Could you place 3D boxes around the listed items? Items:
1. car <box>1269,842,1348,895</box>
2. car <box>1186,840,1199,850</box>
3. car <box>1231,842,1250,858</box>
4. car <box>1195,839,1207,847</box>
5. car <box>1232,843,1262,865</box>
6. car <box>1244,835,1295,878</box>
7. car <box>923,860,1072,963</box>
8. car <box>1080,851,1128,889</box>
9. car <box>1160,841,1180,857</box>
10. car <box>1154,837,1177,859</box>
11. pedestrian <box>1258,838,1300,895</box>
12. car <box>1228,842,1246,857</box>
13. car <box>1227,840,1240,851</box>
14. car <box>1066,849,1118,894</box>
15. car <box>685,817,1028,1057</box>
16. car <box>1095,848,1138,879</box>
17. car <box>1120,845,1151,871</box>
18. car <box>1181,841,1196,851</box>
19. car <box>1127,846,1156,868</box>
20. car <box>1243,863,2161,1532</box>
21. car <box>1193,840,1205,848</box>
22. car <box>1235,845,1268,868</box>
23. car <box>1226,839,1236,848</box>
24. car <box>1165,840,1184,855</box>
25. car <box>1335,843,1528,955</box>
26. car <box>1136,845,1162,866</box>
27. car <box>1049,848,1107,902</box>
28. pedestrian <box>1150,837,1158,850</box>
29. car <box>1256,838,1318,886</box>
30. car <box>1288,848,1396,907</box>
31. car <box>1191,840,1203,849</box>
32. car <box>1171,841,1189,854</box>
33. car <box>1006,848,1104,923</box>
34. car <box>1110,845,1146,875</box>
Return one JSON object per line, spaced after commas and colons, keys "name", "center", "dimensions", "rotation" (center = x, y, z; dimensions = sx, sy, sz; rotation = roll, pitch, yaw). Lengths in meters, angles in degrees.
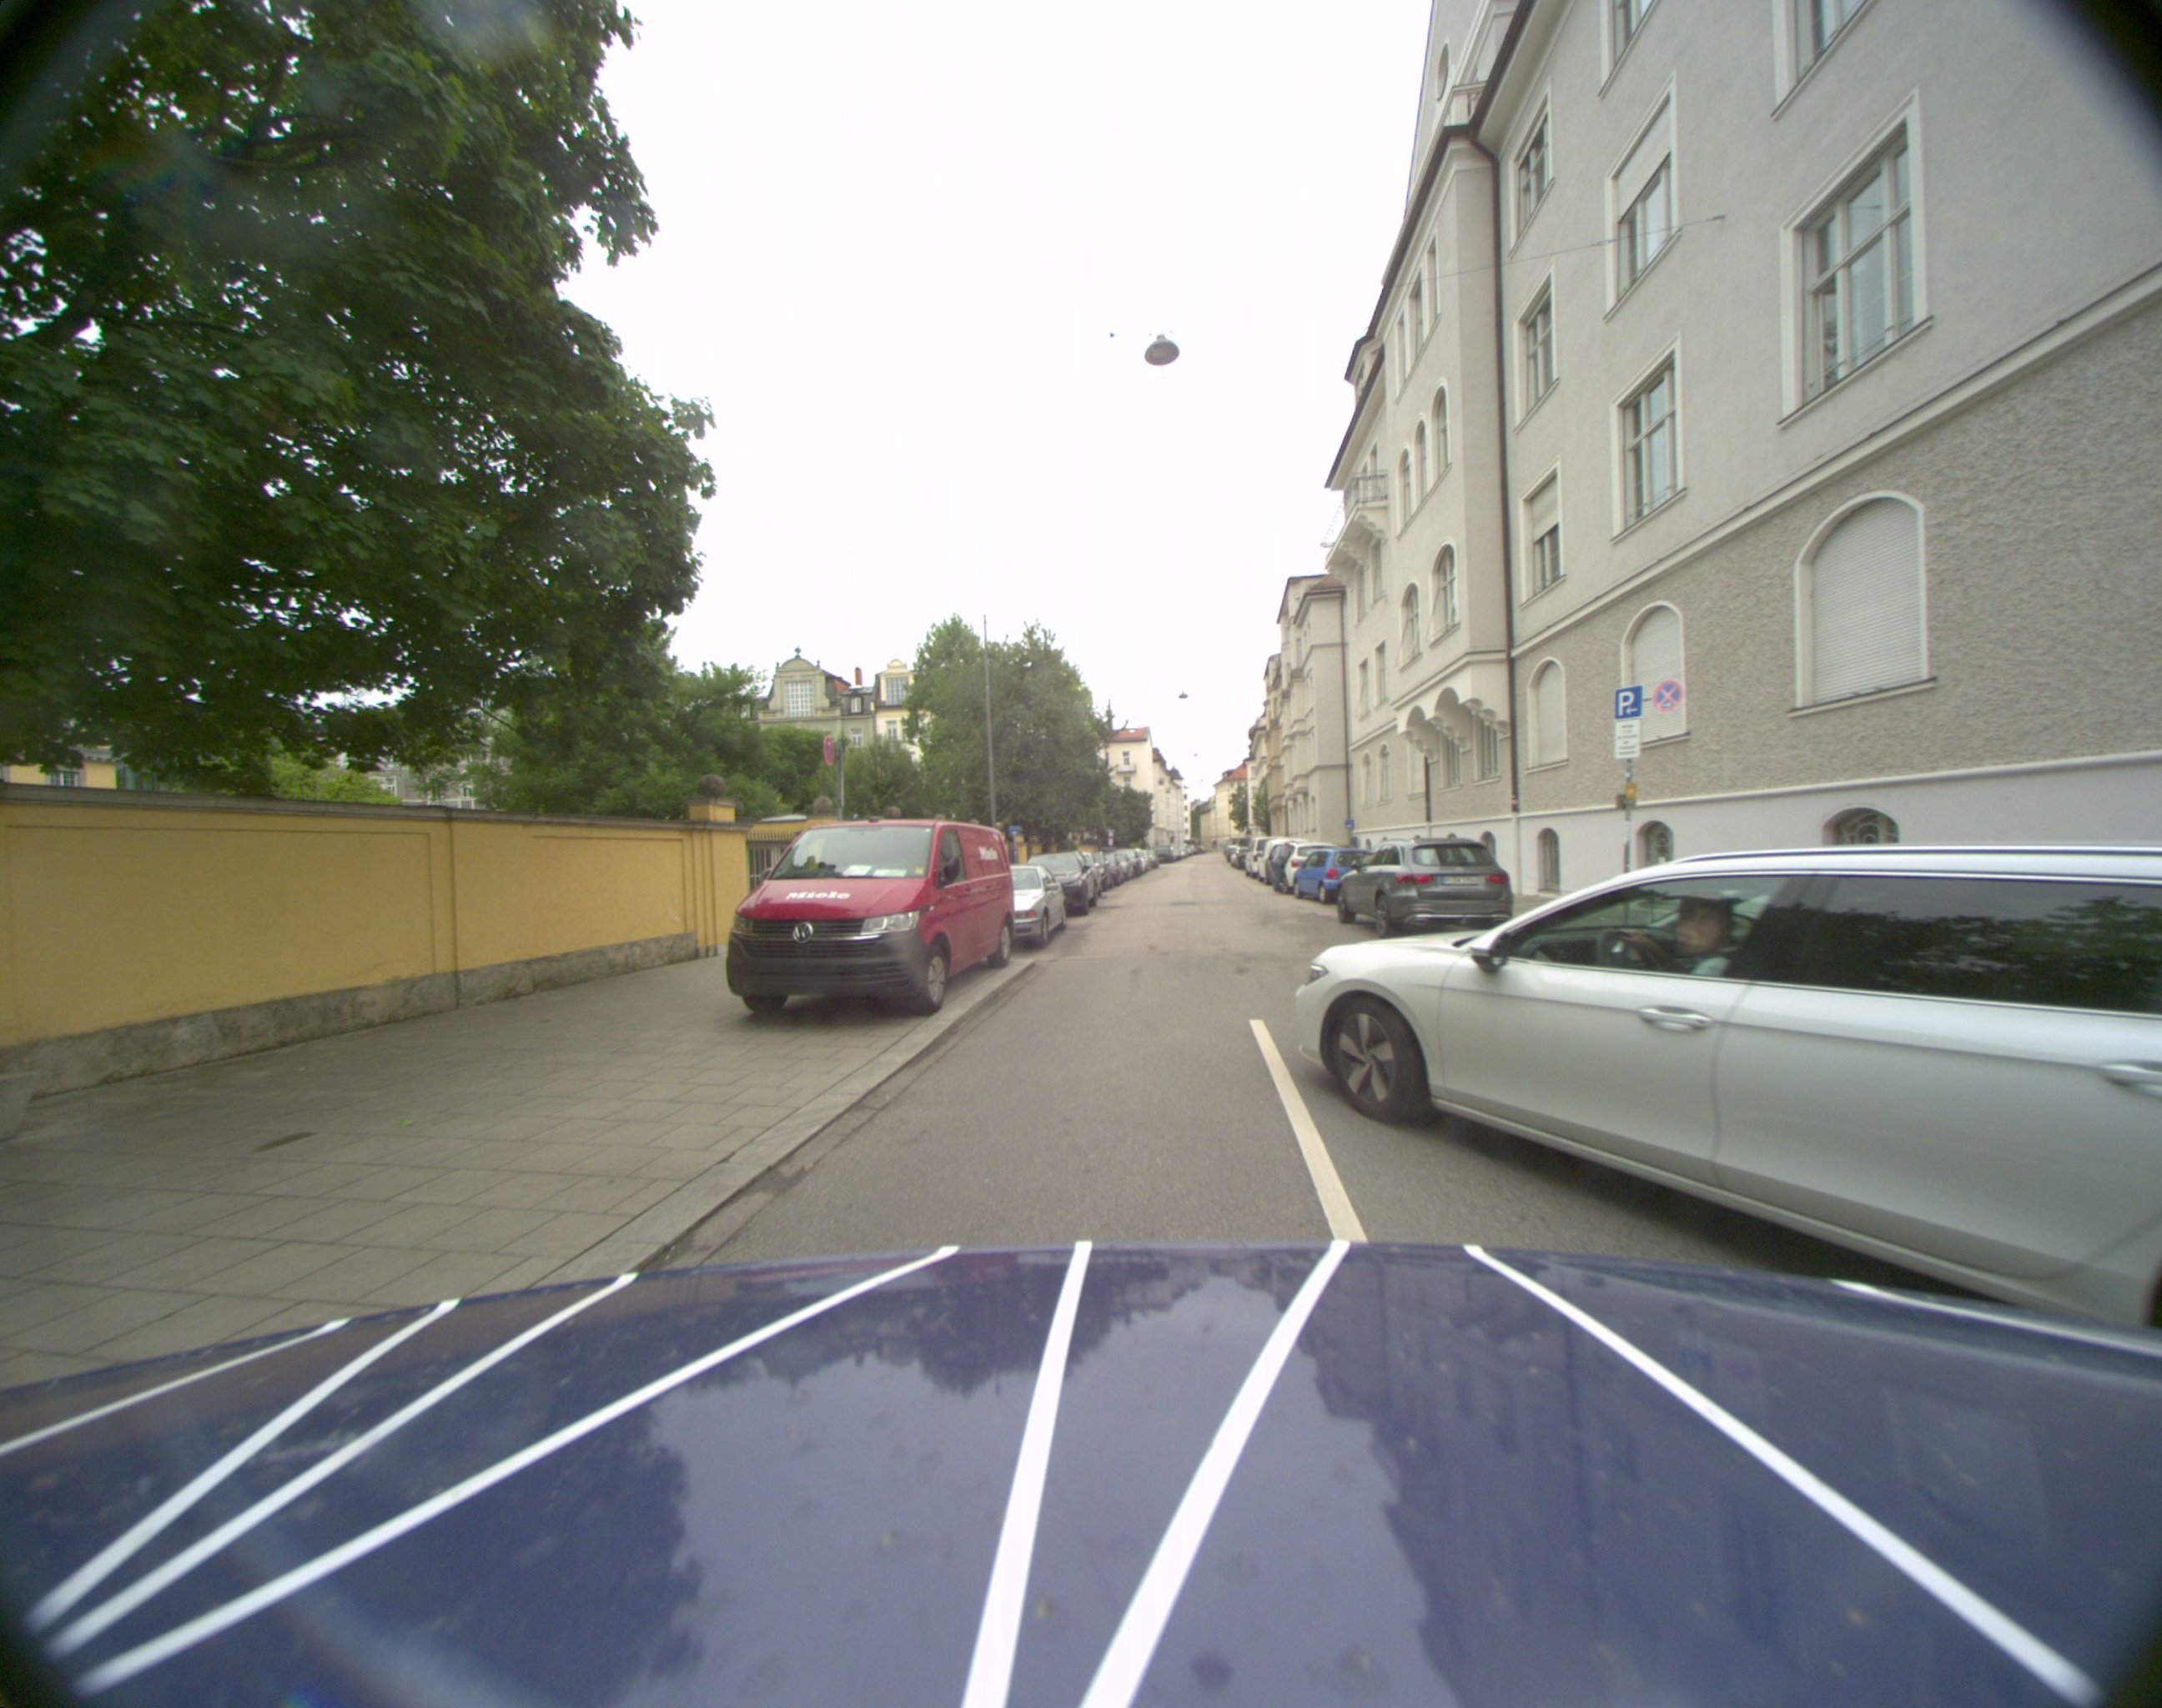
{"name": "car", "center": [7.480, 0.411, 25.347], "dimensions": [1.750, 1.593, 4.498], "rotation": [-1, 1, 7]}
{"name": "car", "center": [20.310, -1.611, 138.546], "dimensions": [1.997, 1.585, 4.302], "rotation": [-5, 0, 12]}
{"name": "car", "center": [14.792, -0.415, 70.528], "dimensions": [1.625, 1.448, 3.943], "rotation": [-1, 1, 11]}
{"name": "car", "center": [25.748, -2.344, 163.018], "dimensions": [1.997, 1.585, 4.303], "rotation": [-5, 0, 15]}
{"name": "car", "center": [12.097, -0.028, 55.559], "dimensions": [1.859, 1.455, 4.381], "rotation": [-1, 1, 8]}
{"name": "car", "center": [9.151, 0.072, 37.196], "dimensions": [1.859, 1.927, 4.959], "rotation": [-1, 1, 7]}
{"name": "car", "center": [-1.379, 0.949, 14.435], "dimensions": [1.888, 1.440, 4.369], "rotation": [-4, 1, 5]}
{"name": "car", "center": [1.089, 0.649, 33.697], "dimensions": [1.695, 1.406, 4.038], "rotation": [-4, 1, 7]}
{"name": "car", "center": [10.217, -0.548, 86.735], "dimensions": [1.997, 1.643, 4.451], "rotation": [-5, 0, 8]}
{"name": "car", "center": [8.525, -0.579, 76.682], "dimensions": [1.997, 1.949, 4.435], "rotation": [-5, 0, 8]}
{"name": "pedestrian", "center": [6.294, 0.390, 24.138], "dimensions": [0.874, 1.746, 0.966], "rotation": [-2, 1, 39]}
{"name": "car", "center": [15.619, -0.488, 76.127], "dimensions": [1.625, 1.421, 3.944], "rotation": [-1, 1, 11]}
{"name": "car", "center": [21.177, -1.228, 105.560], "dimensions": [1.626, 1.522, 3.691], "rotation": [-1, 1, 10]}
{"name": "car", "center": [0.481, 0.637, 29.739], "dimensions": [1.511, 1.557, 2.871], "rotation": [-4, 1, 9]}
{"name": "car", "center": [-2.049, 0.665, 8.729], "dimensions": [1.877, 1.909, 4.889], "rotation": [-3, 1, 7]}
{"name": "car", "center": [1.863, 0.437, 38.622], "dimensions": [1.695, 1.406, 4.518], "rotation": [-2, 1, 9]}
{"name": "car", "center": [3.608, 0.230, 49.816], "dimensions": [1.716, 1.562, 4.322], "rotation": [-2, 1, 8]}
{"name": "car", "center": [18.116, -1.331, 128.037], "dimensions": [1.997, 1.585, 4.302], "rotation": [-5, 0, 12]}
{"name": "car", "center": [4.380, 0.203, 54.485], "dimensions": [1.716, 1.445, 4.186], "rotation": [-2, 1, 8]}
{"name": "car", "center": [2.948, 0.812, 2.912], "dimensions": [1.893, 1.440, 4.881], "rotation": [-3, 1, -26]}
{"name": "car", "center": [24.544, -2.093, 158.284], "dimensions": [1.997, 1.585, 4.431], "rotation": [-5, 0, 13]}
{"name": "car", "center": [11.296, 0.131, 50.564], "dimensions": [1.859, 1.404, 4.381], "rotation": [0, 1, 8]}
{"name": "car", "center": [26.036, -1.766, 131.745], "dimensions": [1.626, 1.522, 3.922], "rotation": [-1, 1, 10]}
{"name": "car", "center": [11.340, -0.726, 91.572], "dimensions": [1.997, 1.585, 4.301], "rotation": [-5, 0, 9]}
{"name": "car", "center": [5.852, 0.635, 13.311], "dimensions": [1.750, 1.593, 4.498], "rotation": [-1, 1, 7]}
{"name": "car", "center": [5.352, 0.104, 59.141], "dimensions": [1.716, 1.445, 4.957], "rotation": [-2, 1, 8]}
{"name": "car", "center": [-0.038, 0.645, 25.334], "dimensions": [1.487, 1.530, 3.693], "rotation": [-4, 1, 5]}
{"name": "pedestrian", "center": [9.562, -1.355, 99.239], "dimensions": [0.875, 1.680, 1.052], "rotation": [-2, 1, 9]}
{"name": "car", "center": [8.320, 0.257, 31.090], "dimensions": [1.750, 1.778, 5.039], "rotation": [-1, 1, 7]}
{"name": "car", "center": [6.972, 0.571, 20.691], "dimensions": [1.696, 1.406, 3.662], "rotation": [-1, 1, 0]}
{"name": "car", "center": [23.373, -1.980, 152.971], "dimensions": [1.997, 1.672, 4.302], "rotation": [-5, 0, 13]}
{"name": "car", "center": [13.566, -0.864, 103.586], "dimensions": [1.997, 1.585, 4.302], "rotation": [-5, 0, 12]}
{"name": "car", "center": [-0.551, 0.738, 20.476], "dimensions": [1.888, 1.643, 4.825], "rotation": [-4, 1, 6]}
{"name": "car", "center": [2.820, 0.328, 44.583], "dimensions": [1.716, 1.562, 4.693], "rotation": [-2, 1, 8]}
